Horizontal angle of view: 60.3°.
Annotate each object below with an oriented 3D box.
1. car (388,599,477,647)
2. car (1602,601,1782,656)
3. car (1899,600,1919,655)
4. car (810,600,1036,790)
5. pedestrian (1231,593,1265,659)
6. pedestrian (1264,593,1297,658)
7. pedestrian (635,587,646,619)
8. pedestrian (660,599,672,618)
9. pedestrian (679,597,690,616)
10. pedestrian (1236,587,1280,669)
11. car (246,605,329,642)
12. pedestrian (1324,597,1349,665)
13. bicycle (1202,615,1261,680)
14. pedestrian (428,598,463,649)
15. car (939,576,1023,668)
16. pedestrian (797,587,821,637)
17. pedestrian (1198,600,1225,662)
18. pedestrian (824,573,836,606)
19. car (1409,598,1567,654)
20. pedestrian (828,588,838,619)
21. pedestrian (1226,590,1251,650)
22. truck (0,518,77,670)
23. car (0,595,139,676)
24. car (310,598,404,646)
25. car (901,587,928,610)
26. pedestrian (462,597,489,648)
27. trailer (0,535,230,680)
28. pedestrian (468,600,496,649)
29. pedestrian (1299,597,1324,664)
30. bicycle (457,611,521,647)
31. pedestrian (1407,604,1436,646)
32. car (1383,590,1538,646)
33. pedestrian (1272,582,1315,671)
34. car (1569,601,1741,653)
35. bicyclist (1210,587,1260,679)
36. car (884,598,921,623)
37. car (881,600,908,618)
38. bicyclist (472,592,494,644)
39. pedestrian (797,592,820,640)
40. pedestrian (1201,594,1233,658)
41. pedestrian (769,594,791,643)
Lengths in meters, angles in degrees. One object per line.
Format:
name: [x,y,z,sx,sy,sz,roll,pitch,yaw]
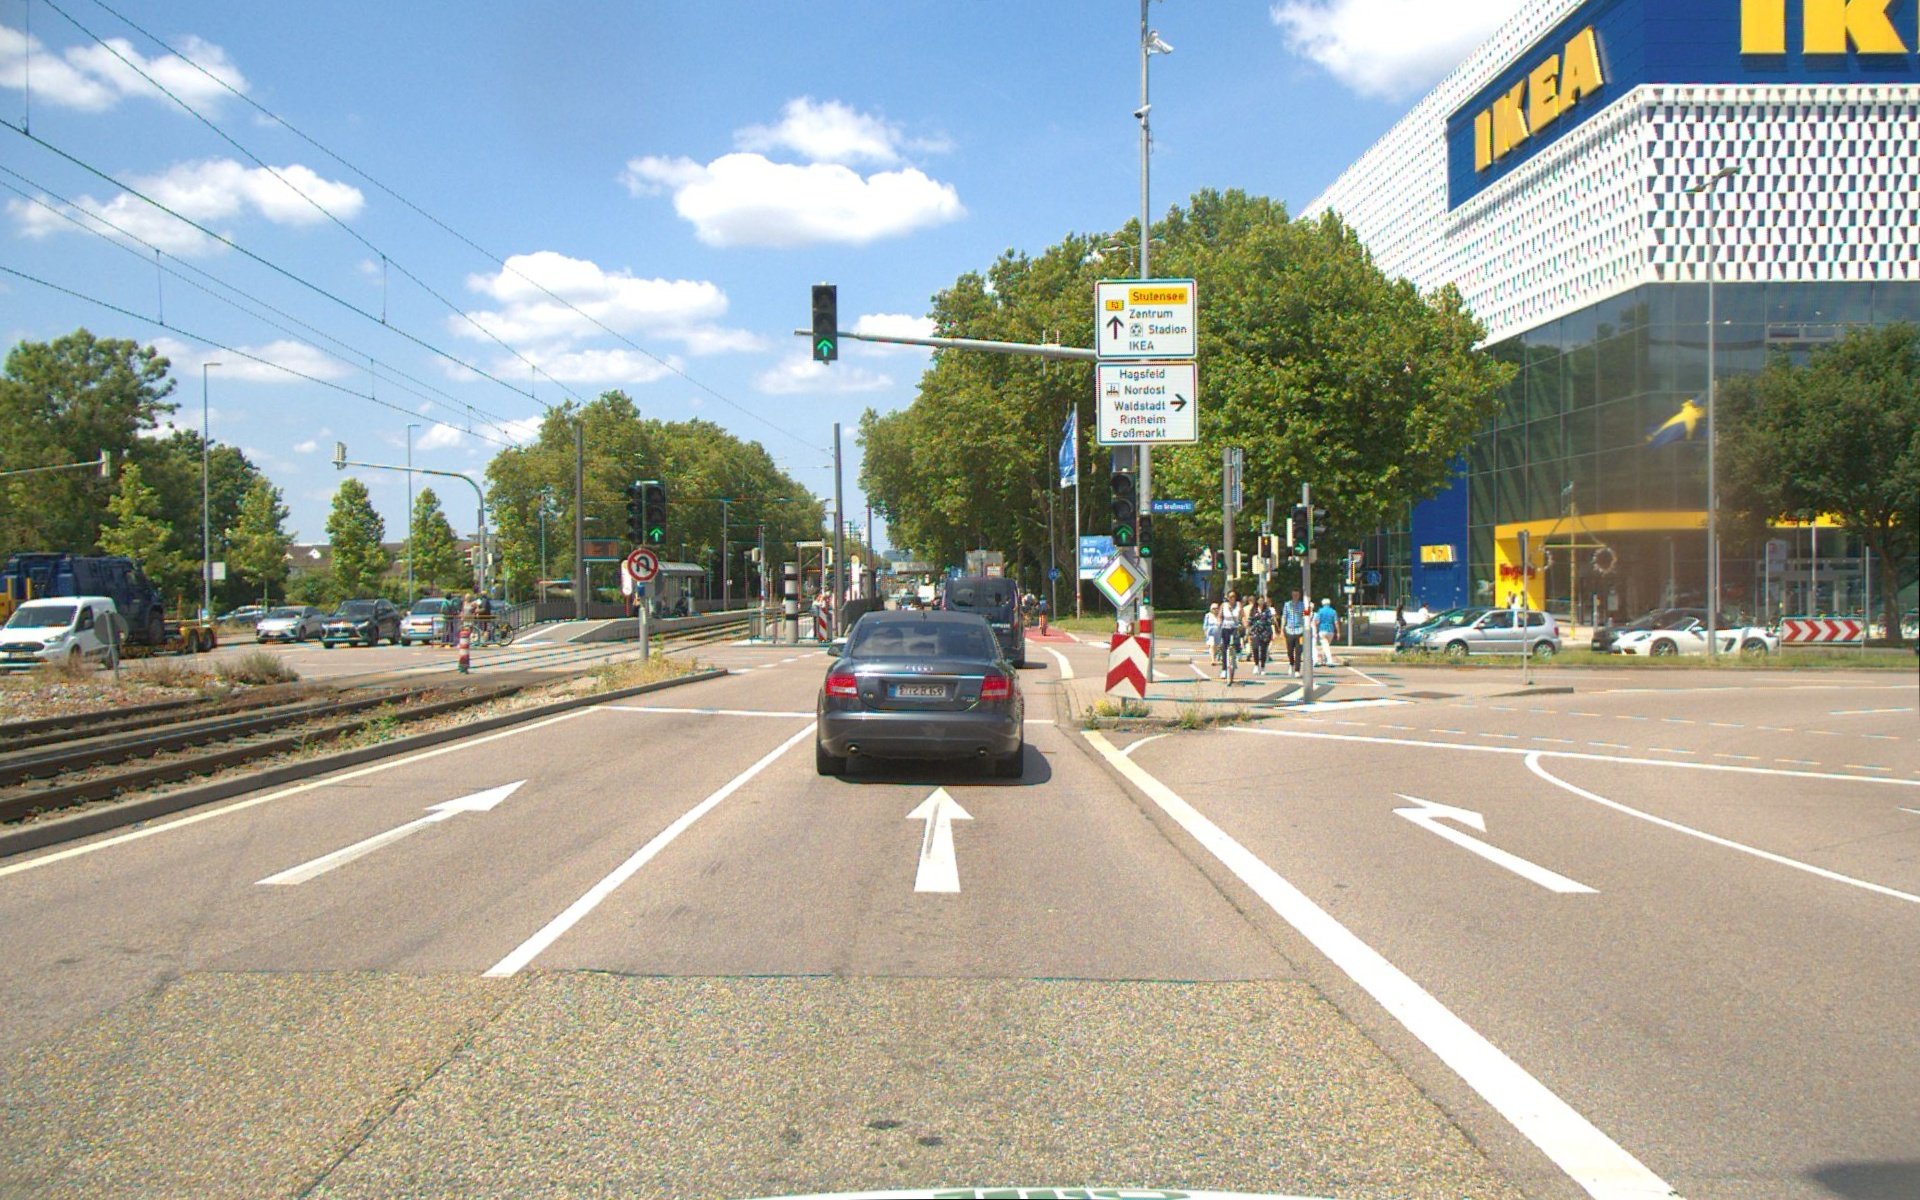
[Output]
car: [-19.070,0.822,59.995,1.953,1.657,4.000,1,0,0]
car: [19.947,0.769,45.180,4.132,1.422,1.804,1,0,1]
car: [30.288,0.823,48.614,4.309,1.612,1.863,1,0,1]
car: [-0.307,0.777,15.422,1.805,1.510,4.000,1,0,0]
pedestrian: [7.520,0.667,43.184,0.778,1.688,0.853,0,0,15]
pedestrian: [8.494,0.662,43.787,0.778,1.688,0.853,0,0,15]
pedestrian: [-16.778,0.142,86.796,0.546,1.666,0.805,0,0,-9]
pedestrian: [-17.117,0.479,96.305,0.565,1.114,0.639,0,0,-1]
pedestrian: [-17.311,0.397,103.917,0.565,1.211,0.639,0,0,-1]
pedestrian: [6.599,0.604,36.693,0.787,1.790,0.797,1,0,-3]
car: [-28.195,0.961,69.498,1.954,1.489,4.275,1,0,-4]
pedestrian: [9.379,0.777,41.207,0.589,1.666,0.864,0,-1,13]
bicycle: [5.162,0.890,31.579,0.812,1.182,1.879,1,0,0]
pedestrian: [-16.662,0.750,53.558,0.937,1.638,0.763,0,0,-4]
car: [0.465,0.480,38.138,1.810,1.994,4.144,1,0,0]
pedestrian: [-5.561,0.426,60.900,0.846,1.833,0.882,0,0,-5]
pedestrian: [6.225,0.763,40.991,0.577,1.502,0.806,1,0,5]
pedestrian: [-6.735,-0.558,85.583,0.601,1.711,0.719,1,0,-4]
car: [14.310,0.690,44.965,3.745,1.421,1.804,1,0,1]
pedestrian: [-6.503,0.165,84.558,0.487,1.605,0.557,0,0,-3]
pedestrian: [8.007,0.579,47.561,0.610,1.712,0.726,0,0,16]
truck: [-27.443,-0.183,45.049,3.063,4.109,7.470,0,0,-3]
car: [-22.203,0.842,40.878,1.955,1.870,4.427,1,0,-6]
car: [-21.665,0.760,59.618,1.953,1.657,4.000,0,0,-1]
car: [-3.942,-0.123,143.738,1.761,1.903,4.990,1,0,-8]
pedestrian: [-16.480,0.753,56.254,0.746,1.701,0.763,0,0,-4]
trailer: [-27.829,0.168,52.704,3.053,3.938,15.472,1,0,-3]
pedestrian: [-15.814,0.805,54.776,0.746,1.575,0.763,0,0,-4]
pedestrian: [8.801,0.767,41.373,0.593,1.666,0.864,0,-1,13]
bicycle: [-14.983,0.922,52.595,1.940,1.120,0.761,1,0,-17]
pedestrian: [17.786,0.972,63.787,0.900,1.614,0.632,0,0,-7]
car: [14.606,0.517,48.389,3.907,1.583,1.999,1,0,-3]
pedestrian: [7.248,0.568,35.980,0.786,1.897,0.798,1,0,3]
car: [20.471,0.783,48.832,4.312,1.468,1.852,1,0,-2]
bicyclist: [5.262,0.629,31.640,0.797,1.730,0.799,1,0,-1]
car: [-3.509,0.624,100.387,1.761,1.434,3.992,1,0,-8]
car: [-5.334,0.726,133.577,1.761,1.434,3.992,1,0,-8]
bicyclist: [-15.151,0.565,52.535,0.653,1.643,0.730,1,0,-17]
pedestrian: [-5.175,0.541,56.663,0.770,1.600,0.764,0,0,-5]
pedestrian: [6.860,0.684,44.187,0.765,1.702,0.947,0,0,5]
pedestrian: [-6.315,0.660,58.019,0.718,1.702,0.678,0,0,-5]
